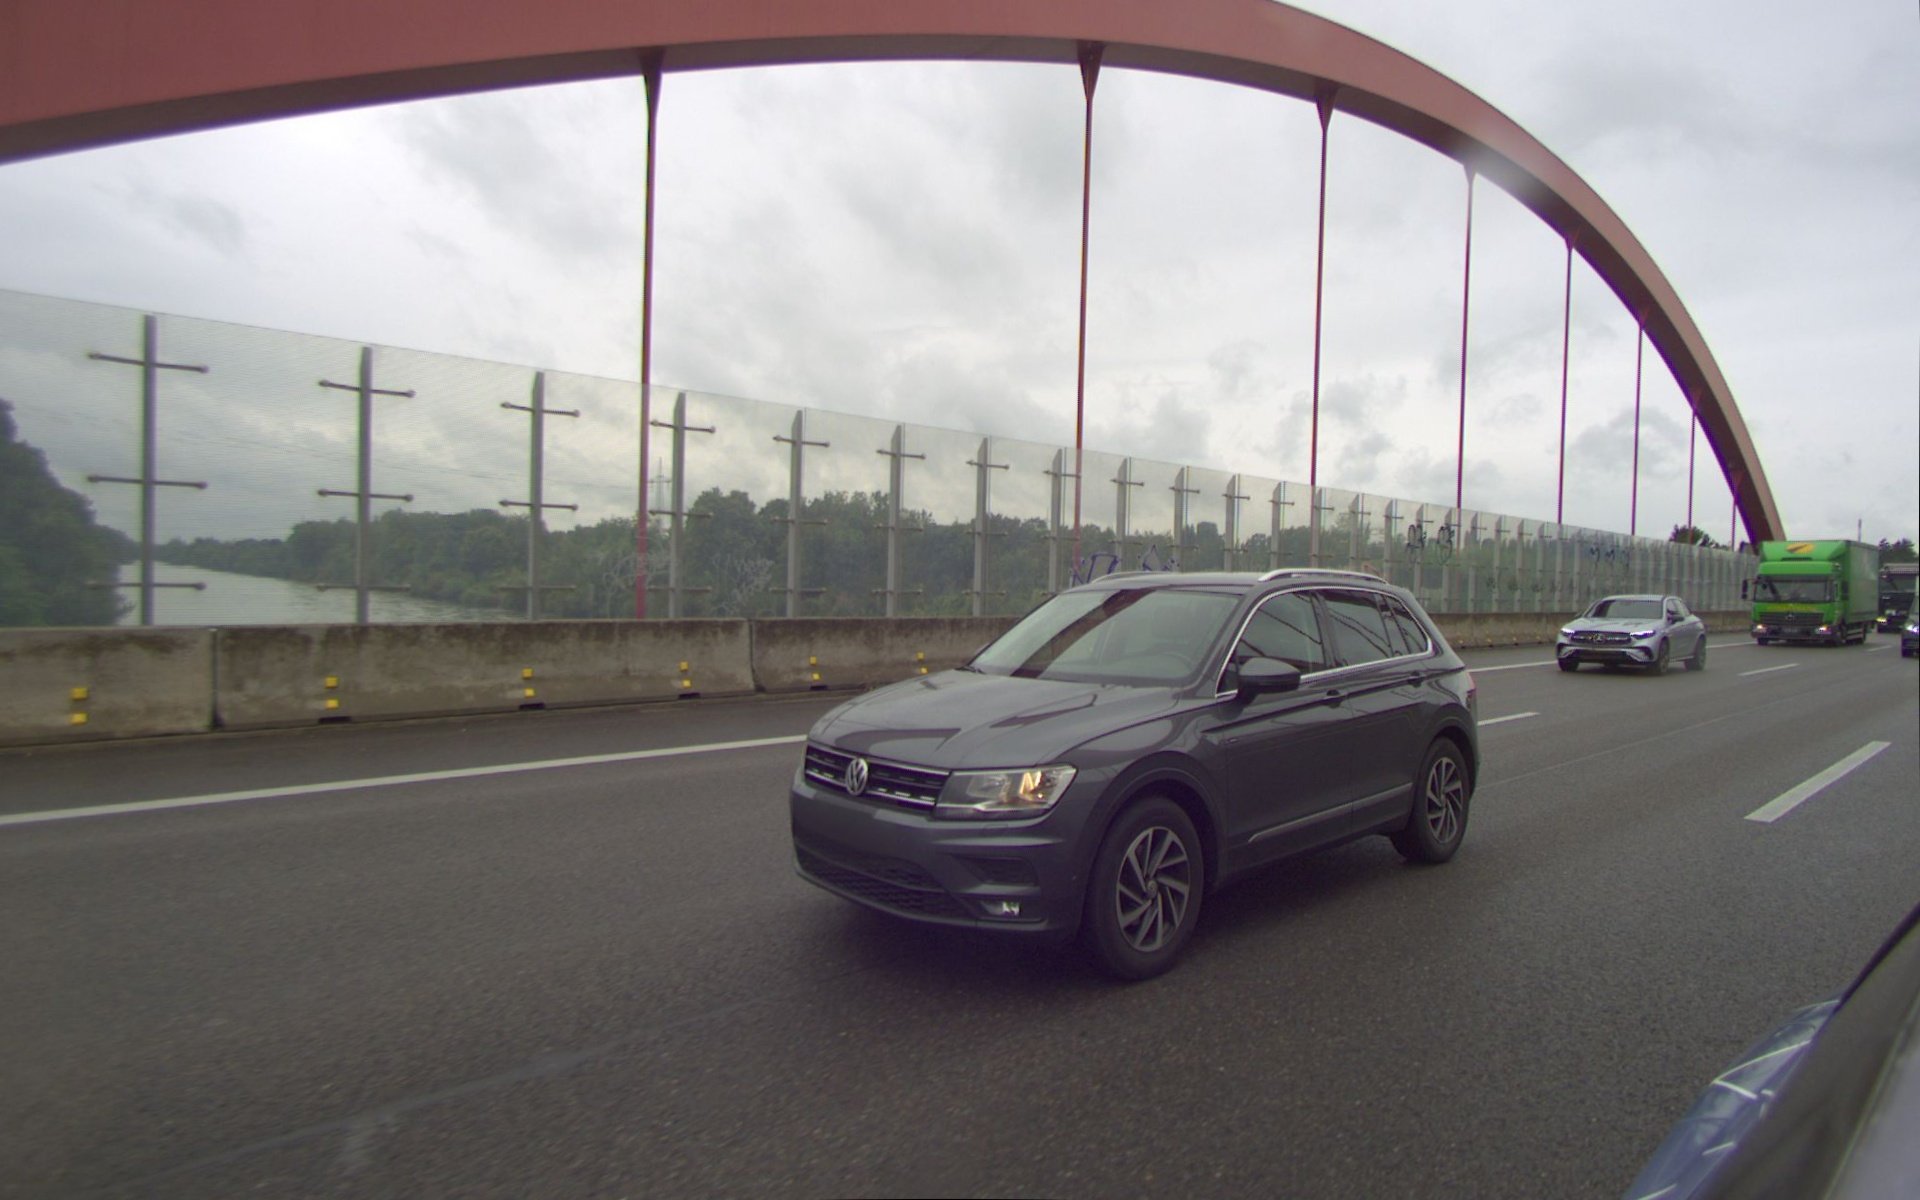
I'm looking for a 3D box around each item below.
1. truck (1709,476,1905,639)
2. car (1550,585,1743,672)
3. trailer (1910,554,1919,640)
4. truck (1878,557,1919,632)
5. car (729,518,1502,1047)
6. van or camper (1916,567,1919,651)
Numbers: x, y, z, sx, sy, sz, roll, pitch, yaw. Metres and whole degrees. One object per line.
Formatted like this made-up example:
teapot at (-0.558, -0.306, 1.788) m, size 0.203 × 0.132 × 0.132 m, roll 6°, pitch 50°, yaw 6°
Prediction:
truck at (32.337, -1.432, 38.394) m, size 11.023 × 5.332 × 4.004 m, roll 0°, pitch 0°, yaw -41°
car at (15.068, 0.538, 22.102) m, size 5.231 × 1.639 × 1.999 m, roll 0°, pitch 2°, yaw -39°
trailer at (33.577, -0.048, 33.224) m, size 7.380 × 2.675 × 2.726 m, roll 0°, pitch 1°, yaw -41°
truck at (55.681, -0.352, 58.601) m, size 12.502 × 3.999 × 2.816 m, roll 0°, pitch 2°, yaw -44°
car at (1.062, 0.570, 5.316) m, size 4.034 × 1.691 × 1.914 m, roll 0°, pitch 0°, yaw -42°
van or camper at (28.820, 0.240, 28.885) m, size 5.583 × 2.298 × 1.892 m, roll 0°, pitch 0°, yaw -43°
